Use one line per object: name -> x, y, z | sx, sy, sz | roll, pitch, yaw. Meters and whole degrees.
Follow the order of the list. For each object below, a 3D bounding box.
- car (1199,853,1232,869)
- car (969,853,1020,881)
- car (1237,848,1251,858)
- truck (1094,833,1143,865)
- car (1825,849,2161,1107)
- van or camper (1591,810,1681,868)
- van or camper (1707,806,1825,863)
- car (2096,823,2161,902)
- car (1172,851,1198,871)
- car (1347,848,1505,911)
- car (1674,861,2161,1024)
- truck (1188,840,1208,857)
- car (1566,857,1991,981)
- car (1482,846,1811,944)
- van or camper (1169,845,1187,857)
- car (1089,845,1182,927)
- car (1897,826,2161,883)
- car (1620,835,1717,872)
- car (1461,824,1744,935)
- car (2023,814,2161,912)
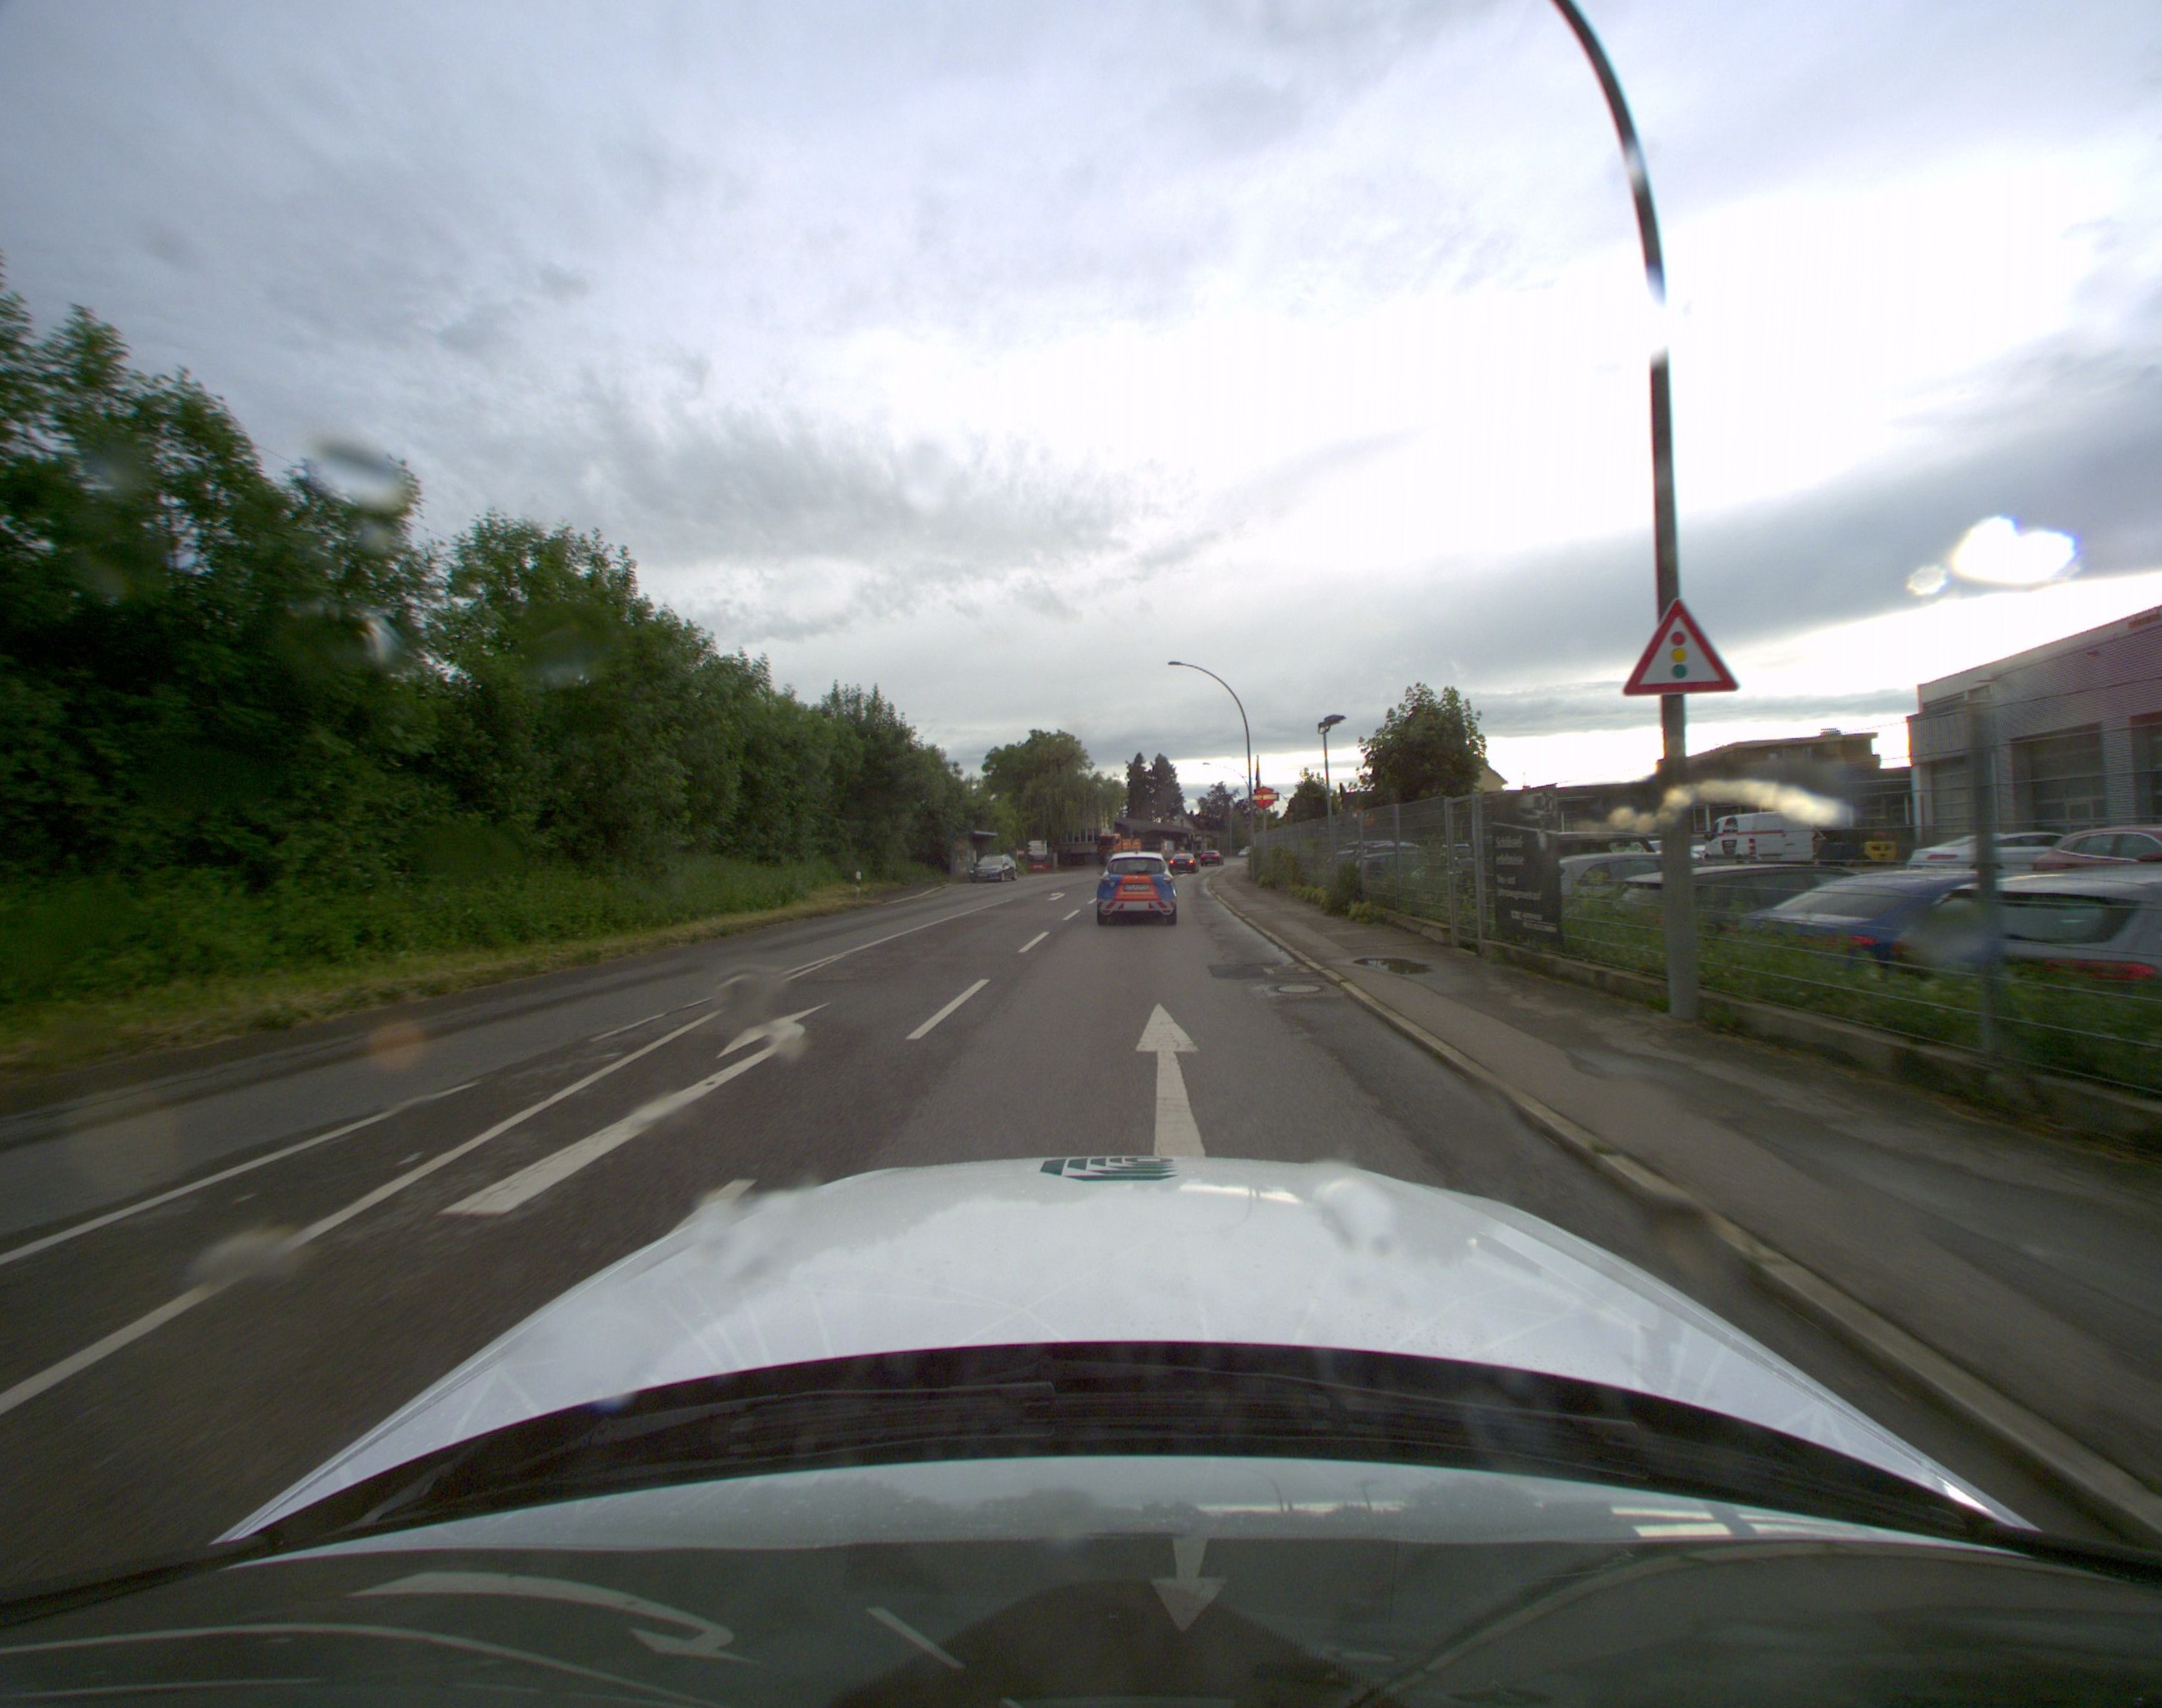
car -> 12.525, 0.695, 75.611 | 1.975, 1.420, 4.022 | 0, -1, 24
car -> -4.747, 0.744, 45.376 | 1.985, 1.474, 4.704 | 1, -1, 4
car -> 29.328, -0.156, 146.823 | 1.977, 1.644, 4.019 | -1, 0, 18
truck -> 4.462, -0.552, 94.575 | 2.674, 3.412, 9.120 | 0, -1, 23
car -> 8.449, 0.809, 5.939 | 4.154, 1.598, 1.971 | 1, -1, 4
van or camper -> 27.289, -0.732, 40.287 | 2.313, 2.557, 5.770 | -2, 0, 21
van or camper -> 26.416, -0.650, 31.664 | 1.976, 1.938, 5.460 | 0, -1, 23
car -> 19.969, 0.148, 13.628 | 1.977, 1.420, 4.020 | 1, -1, 21
car -> 7.249, 0.505, 57.120 | 1.712, 1.376, 3.940 | 1, -1, 6
car -> 10.313, 0.755, 24.556 | 4.121, 1.772, 1.618 | 1, -1, 5
car -> 8.713, 0.804, 8.214 | 3.967, 1.404, 2.003 | 1, -1, 5
truck -> 21.098, -0.977, 146.242 | 2.374, 2.927, 5.986 | 0, 0, 20
car -> 8.979, 0.803, 10.813 | 3.967, 1.434, 1.828 | -1, 0, 5
car -> 8.827, 0.617, 13.060 | 3.963, 1.404, 1.794 | 0, -1, 9
van or camper -> 16.039, -0.470, 134.587 | 1.978, 1.909, 4.492 | 0, 0, 18
car -> 1.311, 0.648, 18.684 | 1.879, 1.632, 4.006 | 1, 0, 5
car -> 25.103, 0.030, 21.568 | 4.594, 1.400, 1.730 | 0, -2, 24
car -> 24.525, 0.002, 34.198 | 1.876, 1.420, 4.484 | 1, -1, 16
car -> 9.538, 0.451, 15.195 | 4.116, 1.894, 1.776 | 1, -1, 5
car -> 16.935, 0.152, 12.220 | 1.977, 1.420, 4.020 | 0, -1, 21
